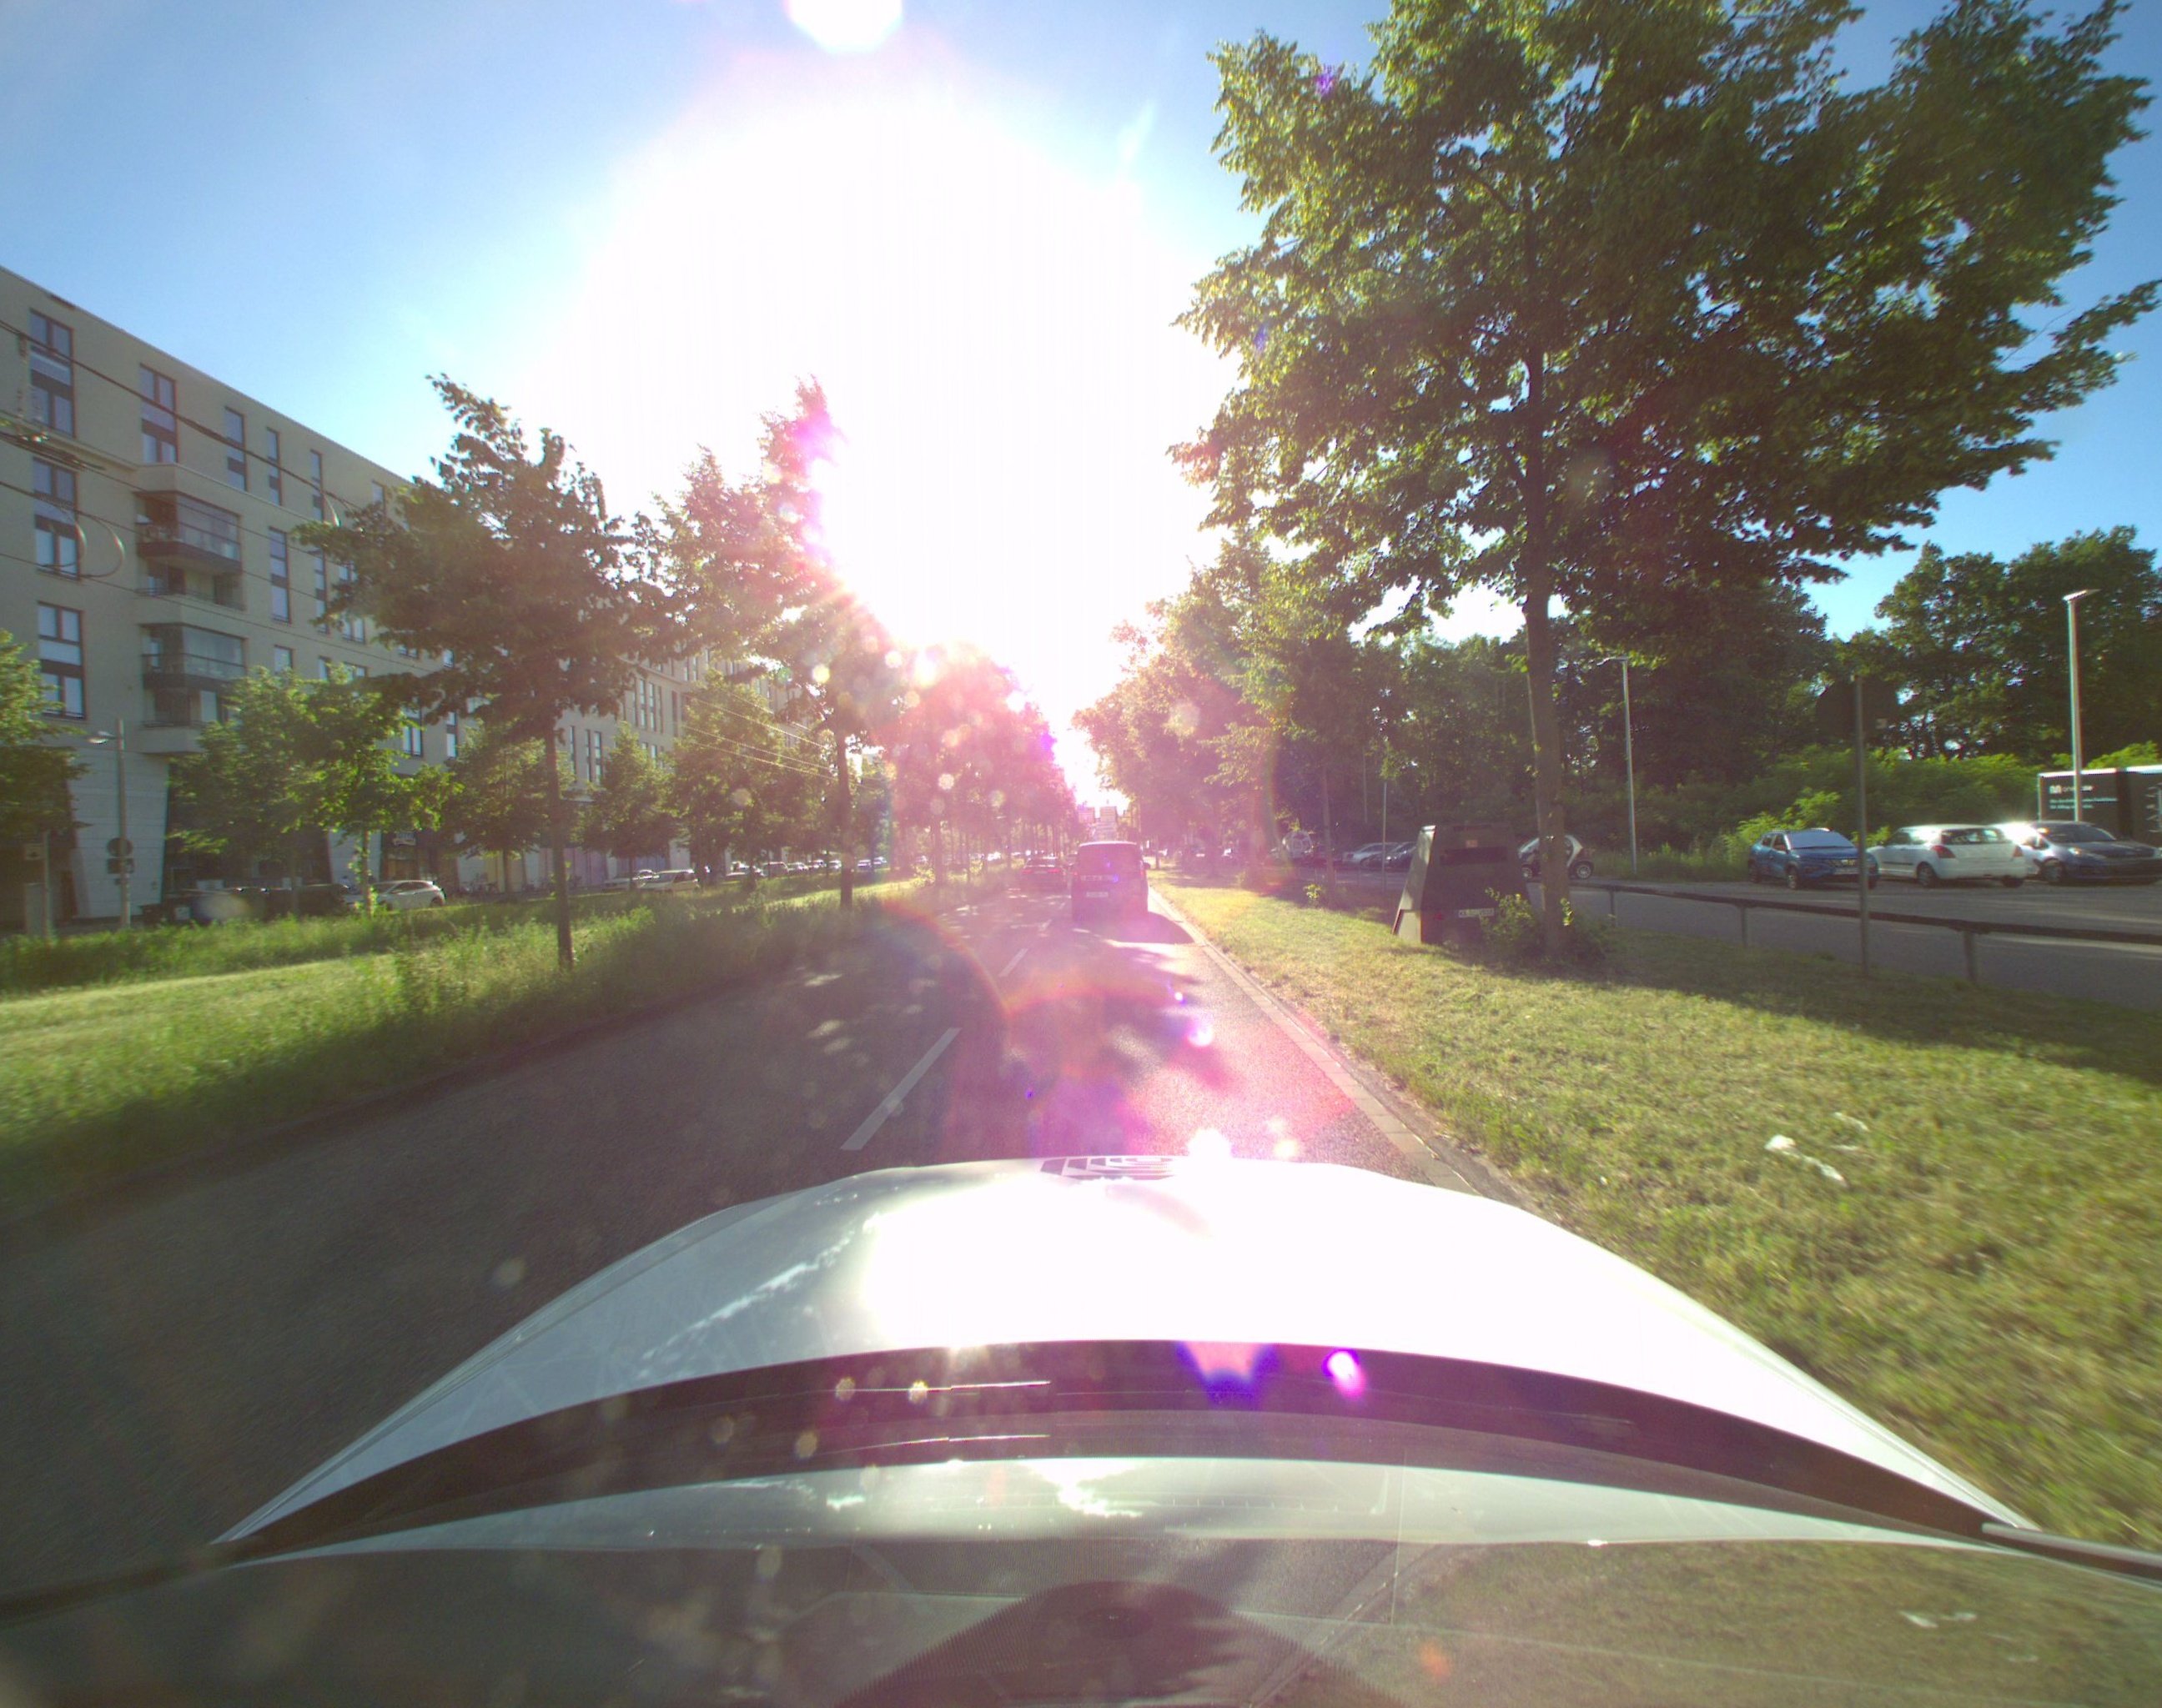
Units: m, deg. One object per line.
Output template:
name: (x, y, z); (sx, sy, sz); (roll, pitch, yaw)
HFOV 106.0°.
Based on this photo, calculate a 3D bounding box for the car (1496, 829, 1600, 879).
car: (16.163, 0.013, 28.290); (2.748, 1.550, 1.466); (-3, -1, 11)

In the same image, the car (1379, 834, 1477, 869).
car: (17.526, -0.130, 41.303); (4.179, 1.498, 1.781); (-3, 0, -1)

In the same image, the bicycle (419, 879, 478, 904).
bicycle: (-36.069, 2.116, 46.503); (0.941, 1.281, 2.778); (-1, 0, 9)

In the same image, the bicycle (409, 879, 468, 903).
bicycle: (-37.101, 2.125, 47.100); (0.941, 1.281, 2.778); (-1, 0, 9)

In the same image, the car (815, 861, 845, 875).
car: (-28.567, 1.582, 92.759); (1.987, 1.441, 4.455); (0, 0, 0)

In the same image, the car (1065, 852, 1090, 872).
car: (-0.290, 0.688, 70.294); (1.986, 1.618, 4.002); (0, 0, 2)

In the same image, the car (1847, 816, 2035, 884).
car: (21.584, -0.082, 20.677); (1.732, 1.536, 3.901); (-1, 0, 20)

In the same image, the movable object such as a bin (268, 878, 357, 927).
movable object such as a bin: (-29.875, 1.870, 31.685); (1.964, 1.794, 1.556); (0, 0, 0)

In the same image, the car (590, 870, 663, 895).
car: (-29.614, 1.832, 53.271); (1.987, 1.441, 4.924); (0, 0, 0)

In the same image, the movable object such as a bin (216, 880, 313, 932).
movable object such as a bin: (-29.907, 1.866, 29.882); (1.964, 1.794, 1.556); (0, 0, 0)

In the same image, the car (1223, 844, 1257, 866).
car: (12.120, 0.094, 62.181); (1.985, 1.640, 4.003); (0, 0, 3)

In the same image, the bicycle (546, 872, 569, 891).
bicycle: (-36.394, 1.927, 56.631); (0.596, 1.281, 1.608); (0, 0, 0)

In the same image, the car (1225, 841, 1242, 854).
car: (23.483, -0.999, 125.530); (2.076, 2.013, 4.952); (-2, 0, 7)

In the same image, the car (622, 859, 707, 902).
car: (-20.815, 1.285, 40.888); (1.984, 2.013, 4.005); (0, 0, 5)

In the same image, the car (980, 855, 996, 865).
car: (-15.427, 0.987, 135.600); (1.986, 1.686, 5.112); (0, 0, 2)

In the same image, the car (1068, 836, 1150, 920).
car: (0.608, 0.531, 20.051); (1.803, 1.838, 3.998); (0, 0, -1)

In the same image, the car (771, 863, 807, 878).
car: (-28.659, 1.585, 80.136); (1.987, 1.441, 4.455); (0, 0, 0)

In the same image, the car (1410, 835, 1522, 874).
car: (16.929, 0.023, 35.968); (4.063, 1.468, 1.717); (-4, 0, 2)

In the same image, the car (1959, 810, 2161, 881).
car: (23.687, -0.184, 19.712); (1.703, 1.540, 3.971); (-1, 0, 20)

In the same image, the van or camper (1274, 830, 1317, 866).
van or camper: (17.576, -0.468, 66.911); (1.988, 2.731, 4.962); (-5, 0, -1)

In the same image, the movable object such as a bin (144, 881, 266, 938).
movable object such as a bin: (-29.854, 1.861, 27.823); (1.964, 1.794, 2.010); (0, 0, -1)

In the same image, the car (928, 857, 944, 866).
car: (-26.510, 1.362, 149.354); (1.871, 1.621, 4.614); (0, 0, 3)

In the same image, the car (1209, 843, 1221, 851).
car: (27.166, -1.442, 164.982); (1.985, 1.640, 4.003); (0, 0, 3)

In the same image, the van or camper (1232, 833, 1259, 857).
van or camper: (20.574, -1.153, 102.096); (2.543, 2.684, 6.577); (-4, 0, 7)

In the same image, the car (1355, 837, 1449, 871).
car: (17.584, -0.023, 44.718); (4.317, 1.477, 1.906); (-4, 1, -2)

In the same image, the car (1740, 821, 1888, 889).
car: (18.935, -0.048, 21.246); (1.579, 1.545, 3.840); (-3, 1, 21)

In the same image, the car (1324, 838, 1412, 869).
car: (17.665, -0.037, 50.306); (4.701, 1.406, 2.001); (-5, 0, 2)

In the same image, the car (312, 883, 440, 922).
car: (-30.025, 2.017, 34.856); (1.987, 1.441, 4.018); (0, 0, 0)

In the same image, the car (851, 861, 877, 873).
car: (-27.572, 1.656, 103.716); (1.950, 1.441, 4.268); (0, 0, 2)

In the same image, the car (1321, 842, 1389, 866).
car: (18.409, -0.006, 54.757); (3.979, 1.504, 1.763); (-2, 0, -4)

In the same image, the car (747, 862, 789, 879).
car: (-28.698, 1.511, 74.765); (1.986, 1.441, 4.458); (0, 0, 2)

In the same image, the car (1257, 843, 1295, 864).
car: (17.465, -0.040, 73.015); (1.839, 1.617, 3.988); (-6, 1, -9)

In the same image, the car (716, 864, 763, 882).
car: (-28.994, 1.566, 69.236); (1.987, 1.441, 4.778); (0, 0, 0)

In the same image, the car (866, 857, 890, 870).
car: (-27.498, 1.245, 110.464); (1.987, 1.772, 4.775); (0, 0, 0)

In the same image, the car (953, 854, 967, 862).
car: (-25.431, 0.910, 171.038); (1.985, 1.608, 4.614); (0, 0, 3)

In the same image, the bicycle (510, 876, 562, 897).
bicycle: (-36.560, 2.161, 54.680); (2.777, 1.281, 0.941); (0, 0, -27)

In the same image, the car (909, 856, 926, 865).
car: (-27.138, 1.115, 135.451); (1.873, 1.434, 4.611); (-2, 0, 1)

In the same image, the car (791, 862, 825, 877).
car: (-28.782, 1.600, 85.947); (1.987, 1.441, 4.935); (0, 0, 0)

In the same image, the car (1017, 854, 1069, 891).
car: (-1.513, 0.744, 33.769); (1.785, 1.428, 4.002); (0, 0, 2)

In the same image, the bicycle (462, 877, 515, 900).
bicycle: (-36.779, 2.131, 50.608); (0.941, 1.281, 2.778); (-1, 0, 9)

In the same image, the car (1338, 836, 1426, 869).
car: (17.448, -0.079, 47.389); (4.361, 1.410, 2.003); (-6, 0, 4)

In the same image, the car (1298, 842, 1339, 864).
car: (17.731, -0.039, 60.999); (1.986, 1.574, 4.001); (0, 0, 2)
